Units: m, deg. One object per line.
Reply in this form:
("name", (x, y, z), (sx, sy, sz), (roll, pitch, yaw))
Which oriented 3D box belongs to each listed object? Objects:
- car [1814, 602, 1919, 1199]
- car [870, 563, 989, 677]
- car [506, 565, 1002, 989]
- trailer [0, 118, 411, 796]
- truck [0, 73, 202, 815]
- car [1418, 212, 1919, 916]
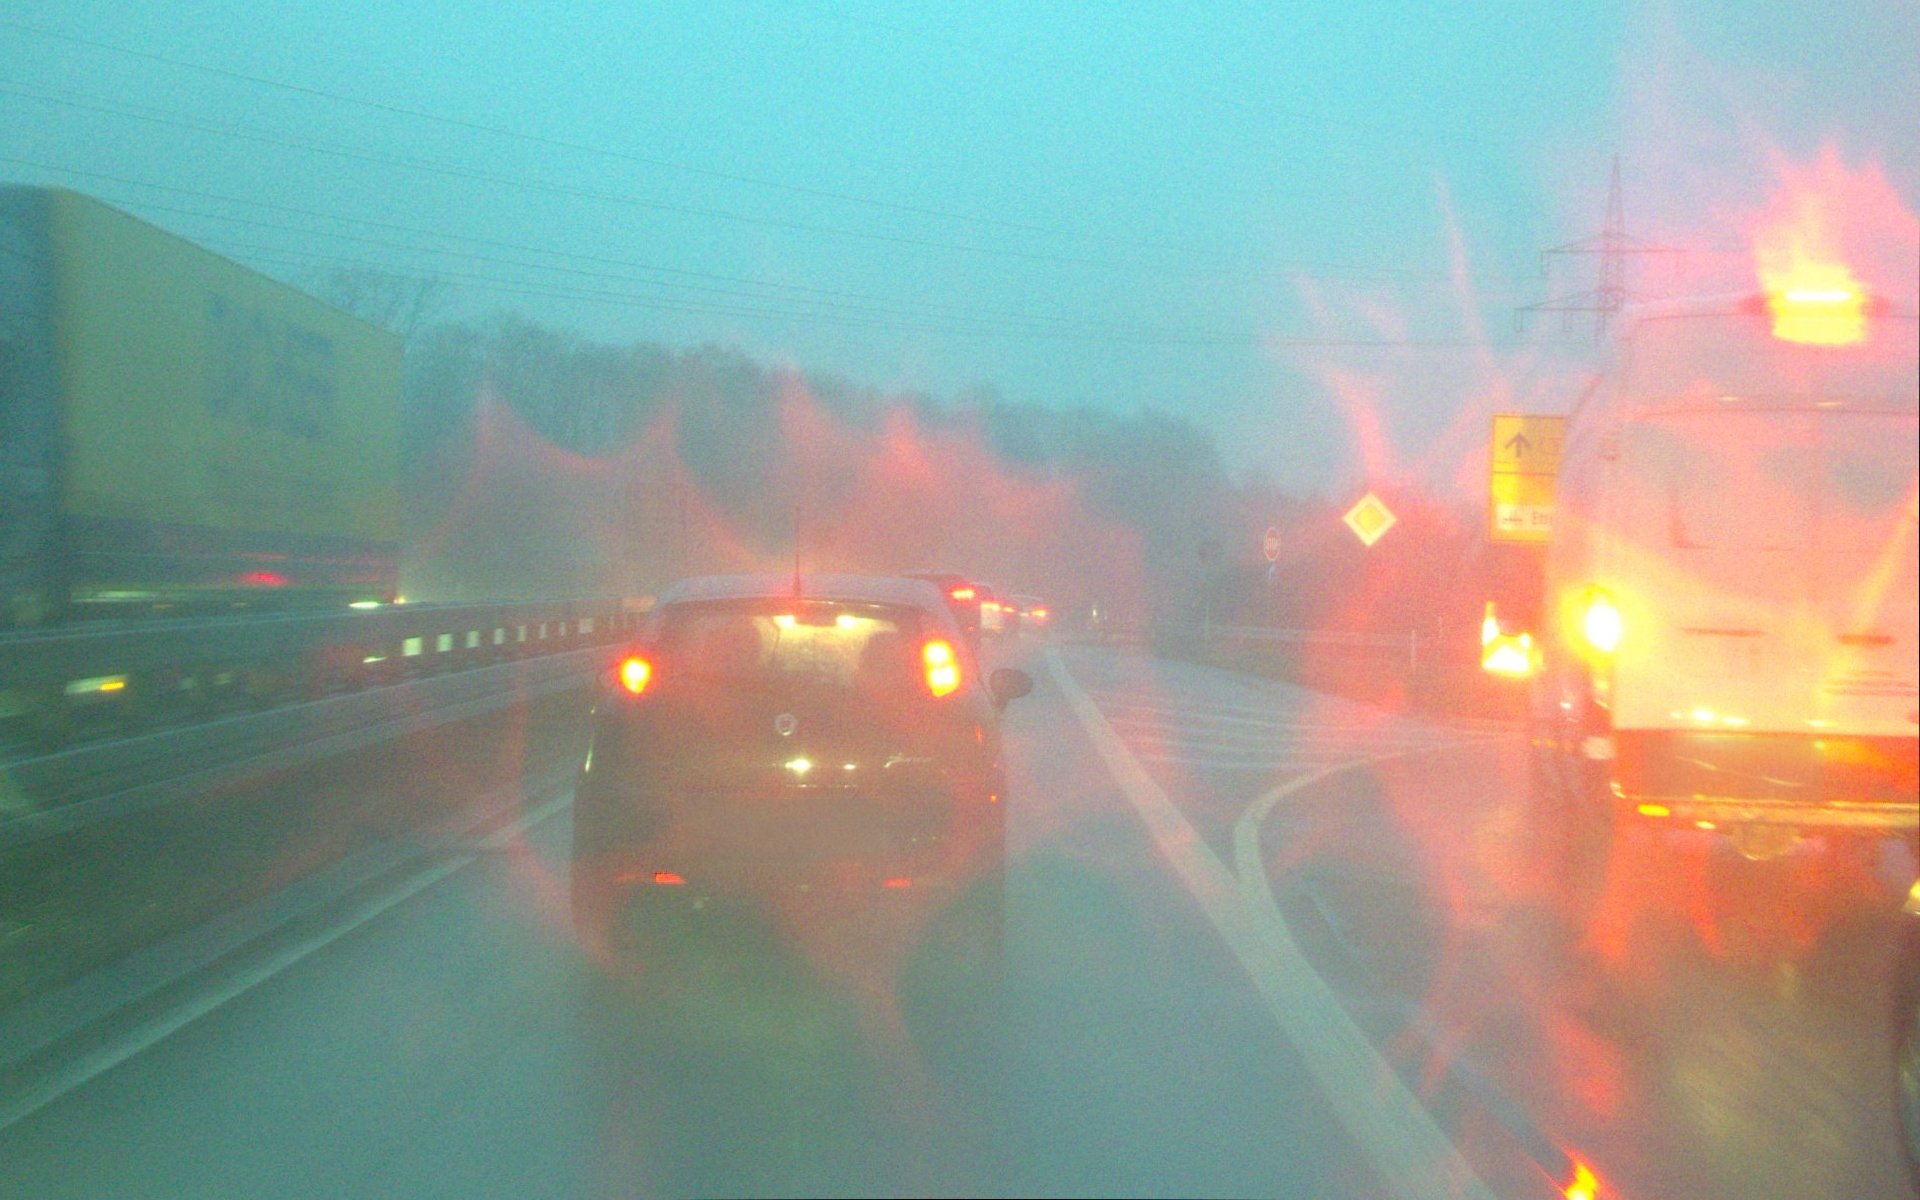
("car", (3.057, 0.797, 6.746), (1.736, 1.409, 4.377), (3, 1, 2))
("car", (-0.564, 0.328, 62.034), (1.993, 1.808, 4.001), (3, 1, -1))
("car", (-0.727, 0.649, 14.523), (1.730, 1.527, 4.042), (0, 0, 2))
("trailer", (-7.220, -0.996, 29.900), (2.628, 4.569, 13.325), (1, 0, 0))
("truck", (-7.205, -1.002, 23.612), (2.595, 4.564, 6.358), (0, 1, 0))
("car", (3.933, -0.159, 17.773), (2.282, 2.956, 6.390), (1, 0, 1))
